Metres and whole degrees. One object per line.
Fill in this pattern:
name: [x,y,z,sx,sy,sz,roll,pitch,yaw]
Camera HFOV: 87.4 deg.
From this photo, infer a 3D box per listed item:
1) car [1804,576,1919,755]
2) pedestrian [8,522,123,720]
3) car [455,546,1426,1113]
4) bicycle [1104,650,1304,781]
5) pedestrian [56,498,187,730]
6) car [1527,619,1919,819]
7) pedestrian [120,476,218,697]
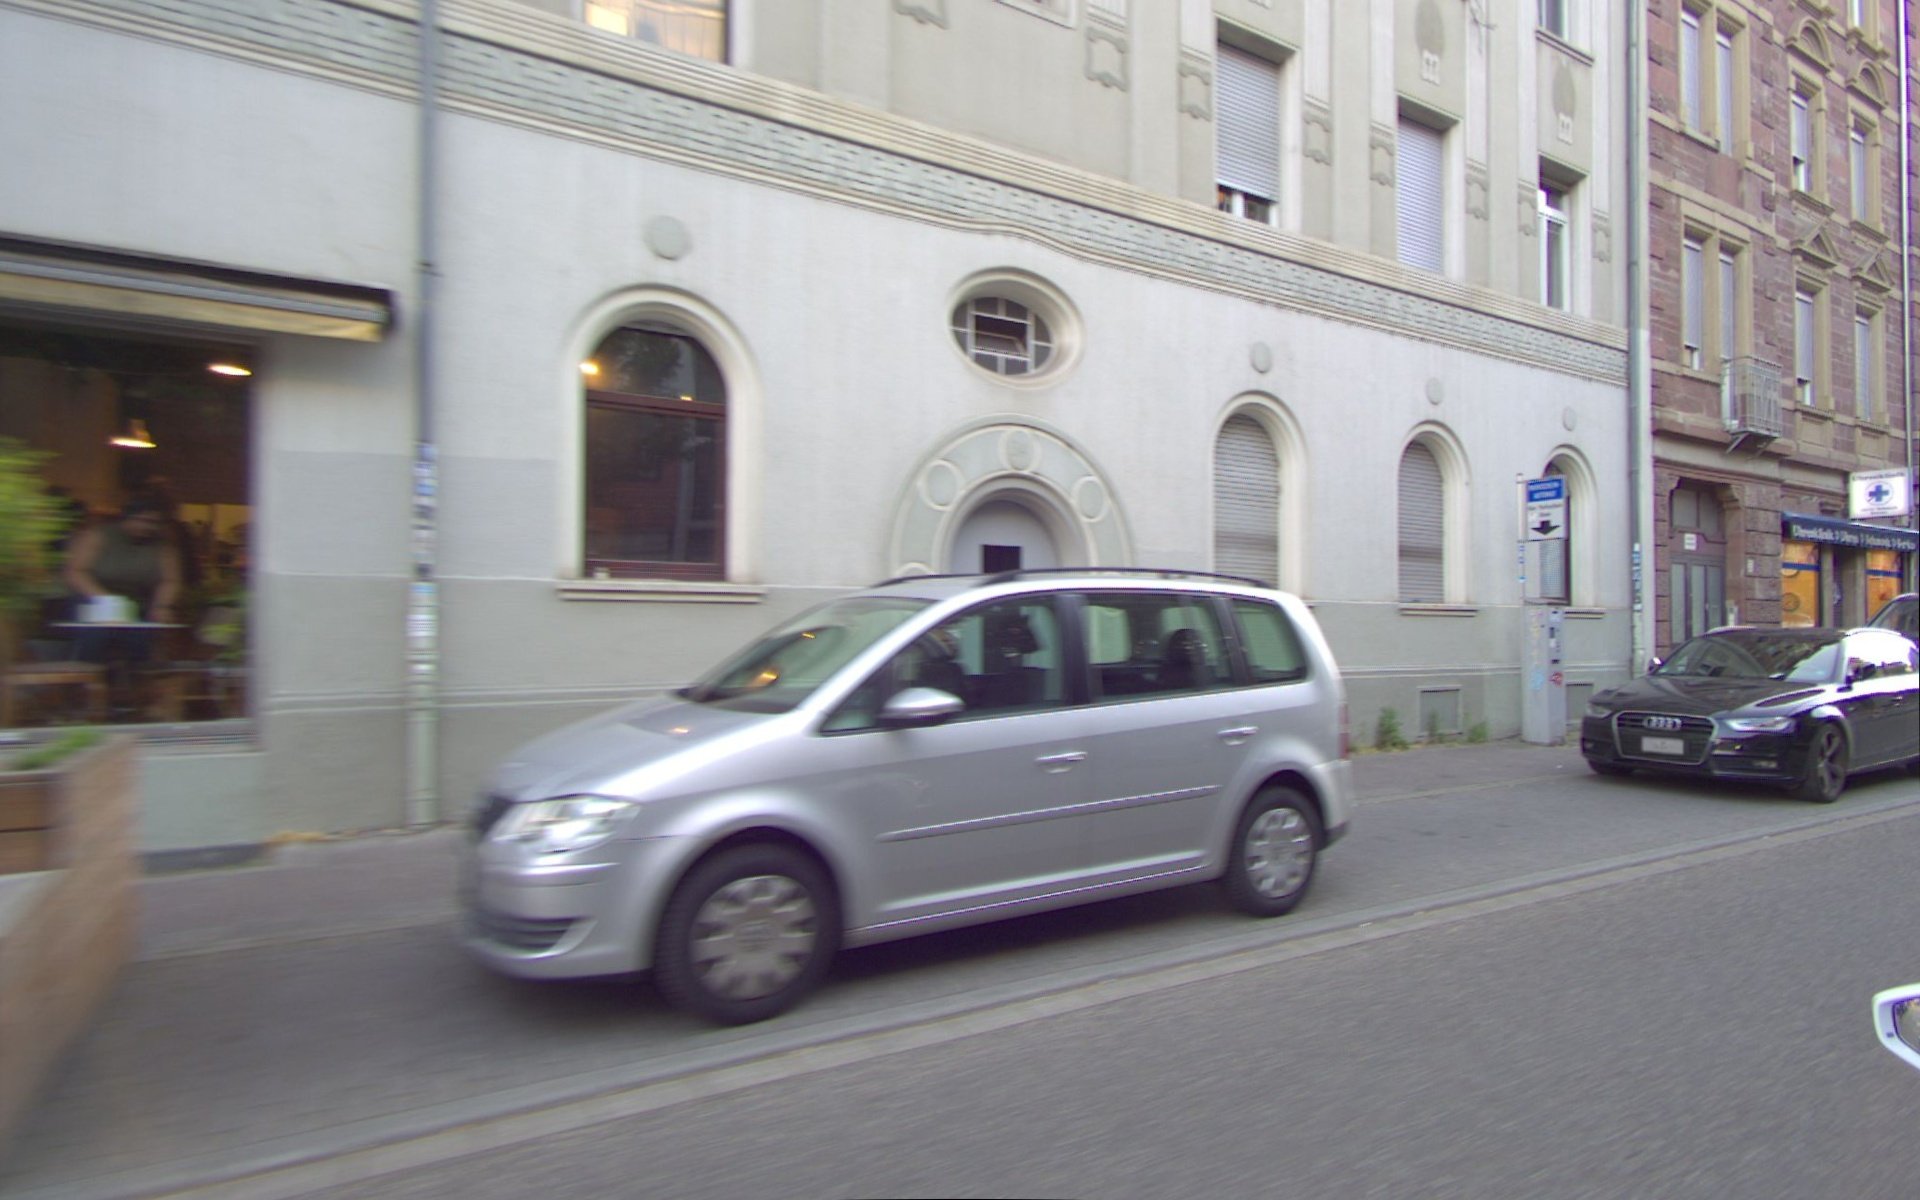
car: [12.531,0.752,12.240,4.888,1.951,1.896,1,-1,-30]
pedestrian: [-6.634,0.158,7.470,0.512,1.401,0.536,1,-1,-30]
car: [0.030,0.698,4.825,4.264,1.612,1.984,1,-1,-31]
bicycle: [2.334,1.041,9.498,2.005,1.110,0.557,1,-1,-30]
pedestrian: [-5.223,0.089,6.286,0.512,1.368,0.536,1,-1,-29]
car: [7.627,0.958,9.586,4.481,1.491,1.902,1,-1,-31]
pedestrian: [-6.274,-0.096,7.989,0.512,1.676,0.536,1,-1,-30]
